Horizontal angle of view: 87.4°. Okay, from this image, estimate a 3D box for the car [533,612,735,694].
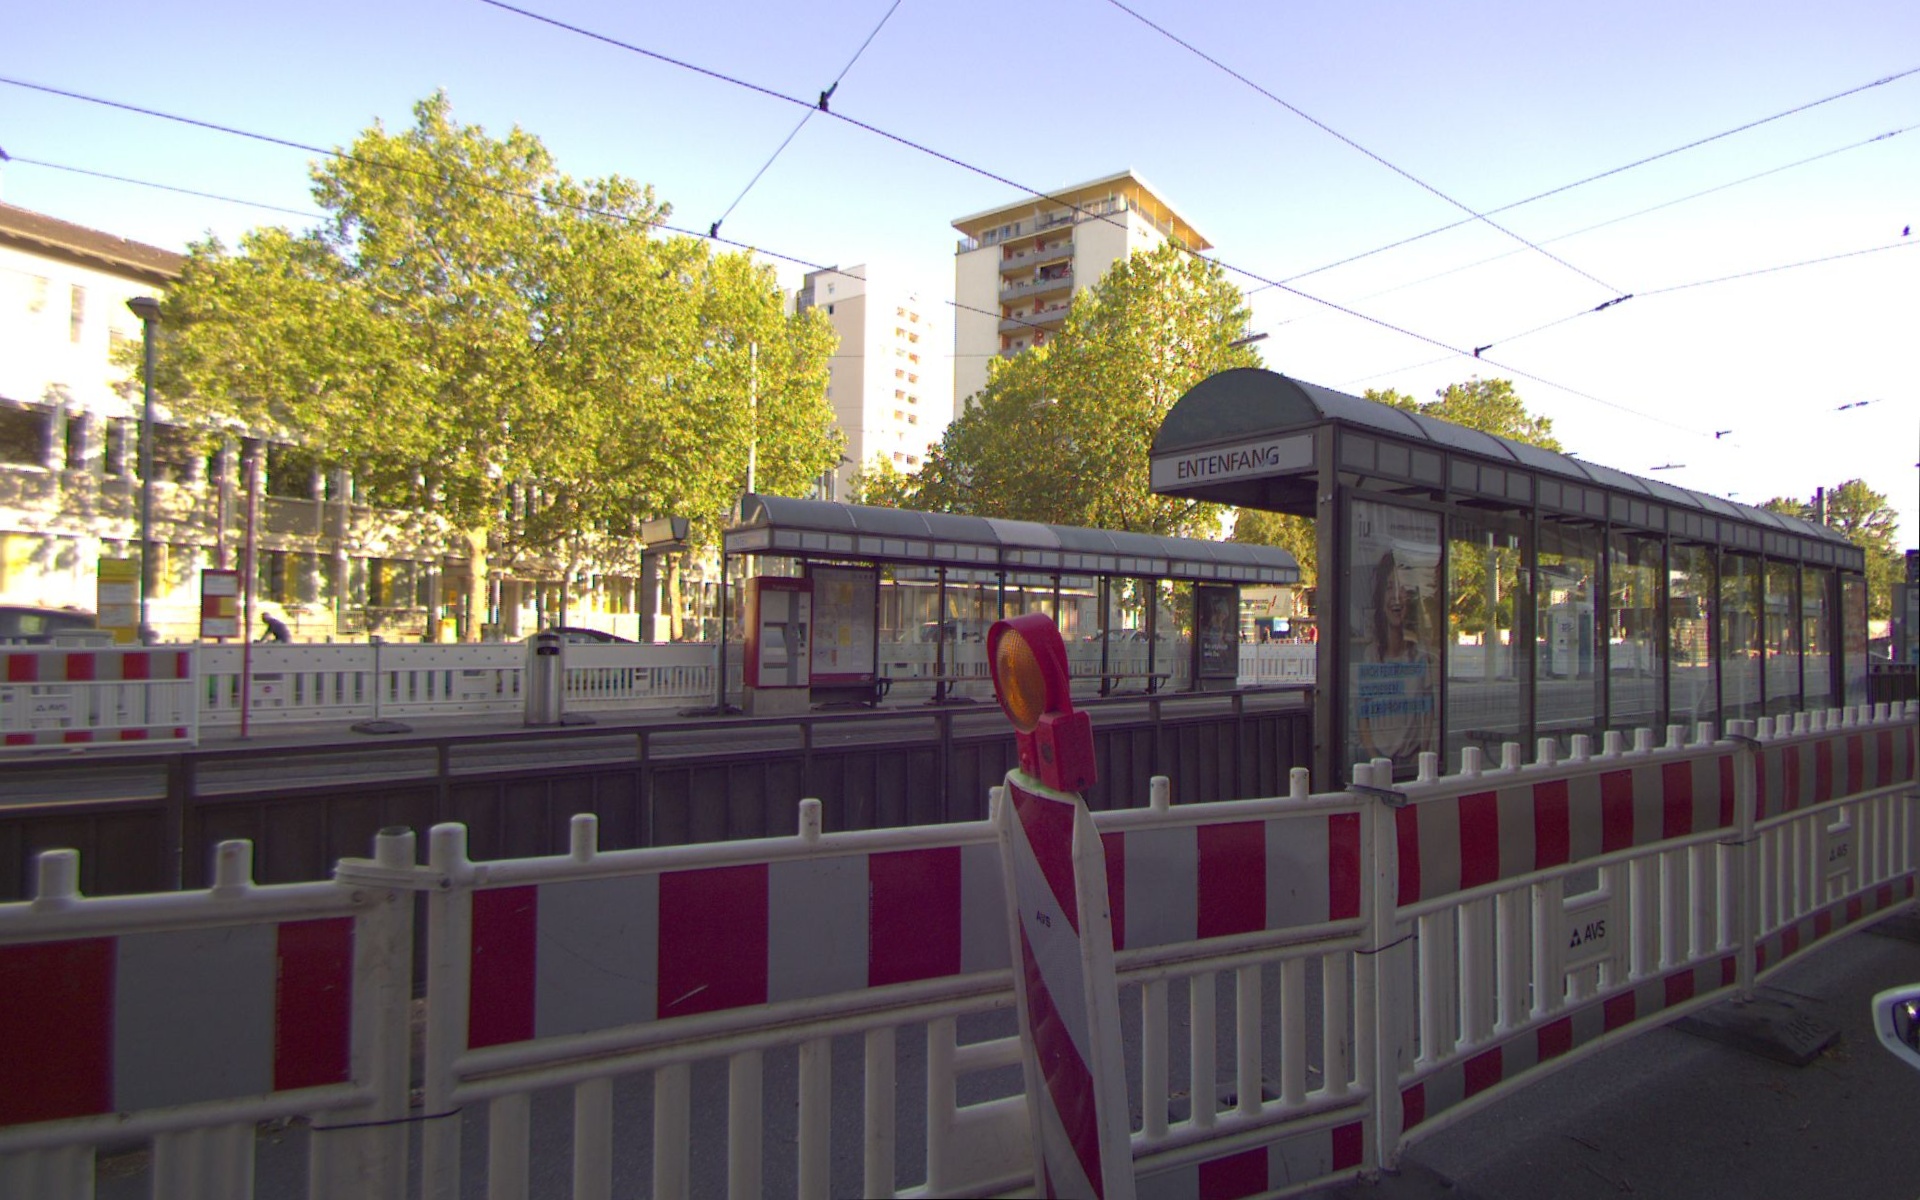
[{"bbox_3d":[-7.327,1.163,22.650,3.958,1.683,1.982,2,-2,-33],"label":"car"}]

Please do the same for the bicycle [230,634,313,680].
[{"bbox_3d":[-16.587,1.372,24.240,1.603,1.079,0.546,2,-2,-31],"label":"bicycle"}]

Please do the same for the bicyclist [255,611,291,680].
[{"bbox_3d":[-16.578,1.099,24.247,0.636,1.635,0.547,1,-1,-30],"label":"bicyclist"}]

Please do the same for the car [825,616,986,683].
[{"bbox_3d":[-1.450,1.306,27.182,3.959,1.683,1.901,2,-2,-34],"label":"car"}]

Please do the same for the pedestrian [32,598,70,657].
[{"bbox_3d":[-23.091,0.696,25.525,0.577,1.474,0.583,0,-2,37],"label":"pedestrian"}]

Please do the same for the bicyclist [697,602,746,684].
[{"bbox_3d":[-5.230,0.930,21.998,0.826,1.751,0.728,2,-2,-35],"label":"bicyclist"}]

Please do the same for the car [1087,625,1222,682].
[{"bbox_3d":[6.178,1.651,31.745,3.958,1.683,1.982,2,-2,-33],"label":"car"}]

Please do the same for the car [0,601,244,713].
[{"bbox_3d":[-14.424,0.889,16.229,4.511,1.683,1.982,2,-2,-33],"label":"car"}]

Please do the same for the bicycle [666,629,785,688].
[{"bbox_3d":[-5.124,1.272,22.070,2.456,1.223,0.685,2,-2,-36],"label":"bicycle"}]
